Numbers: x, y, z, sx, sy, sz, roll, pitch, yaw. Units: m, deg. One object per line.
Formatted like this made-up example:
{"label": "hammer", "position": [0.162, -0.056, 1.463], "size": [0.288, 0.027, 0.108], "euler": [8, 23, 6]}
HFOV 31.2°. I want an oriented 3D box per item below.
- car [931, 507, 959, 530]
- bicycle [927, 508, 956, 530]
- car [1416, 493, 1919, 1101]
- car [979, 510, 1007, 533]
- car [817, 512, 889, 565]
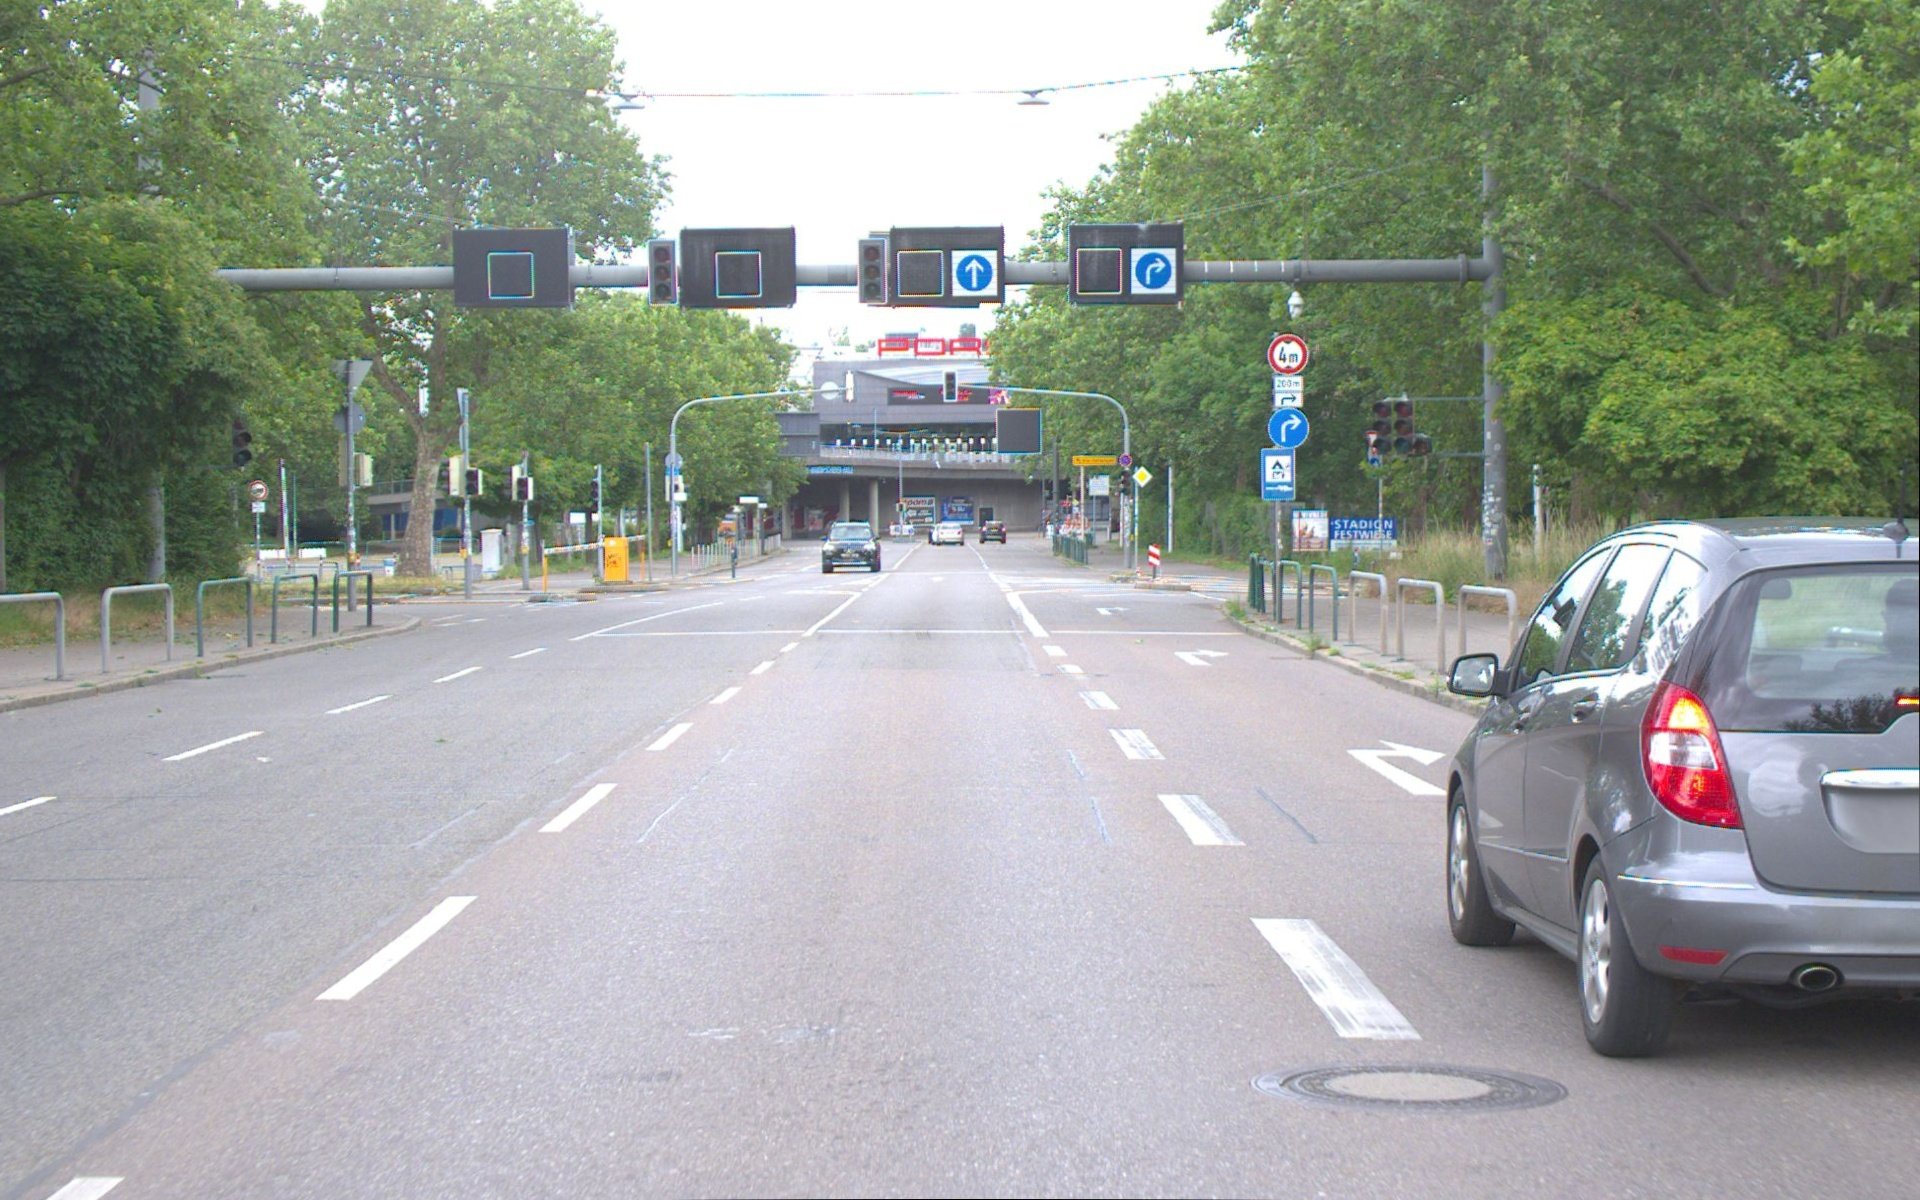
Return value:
{"label": "car", "position": [-1.017, -5.504, 232.175], "size": [1.778, 1.455, 3.822], "euler": [1, 1, 1]}
{"label": "bicycle", "position": [-1.292, -5.710, 241.367], "size": [1.993, 1.503, 4.001], "euler": [0, 2, -1]}
{"label": "car", "position": [2.660, 0.536, 11.164], "size": [1.826, 1.611, 4.034], "euler": [0, 0, 0]}
{"label": "car", "position": [2.487, -5.836, 256.029], "size": [2.007, 1.693, 4.069], "euler": [0, 1, 1]}
{"label": "car", "position": [-3.525, -2.049, 113.969], "size": [1.994, 1.654, 4.517], "euler": [-2, 1, 3]}
